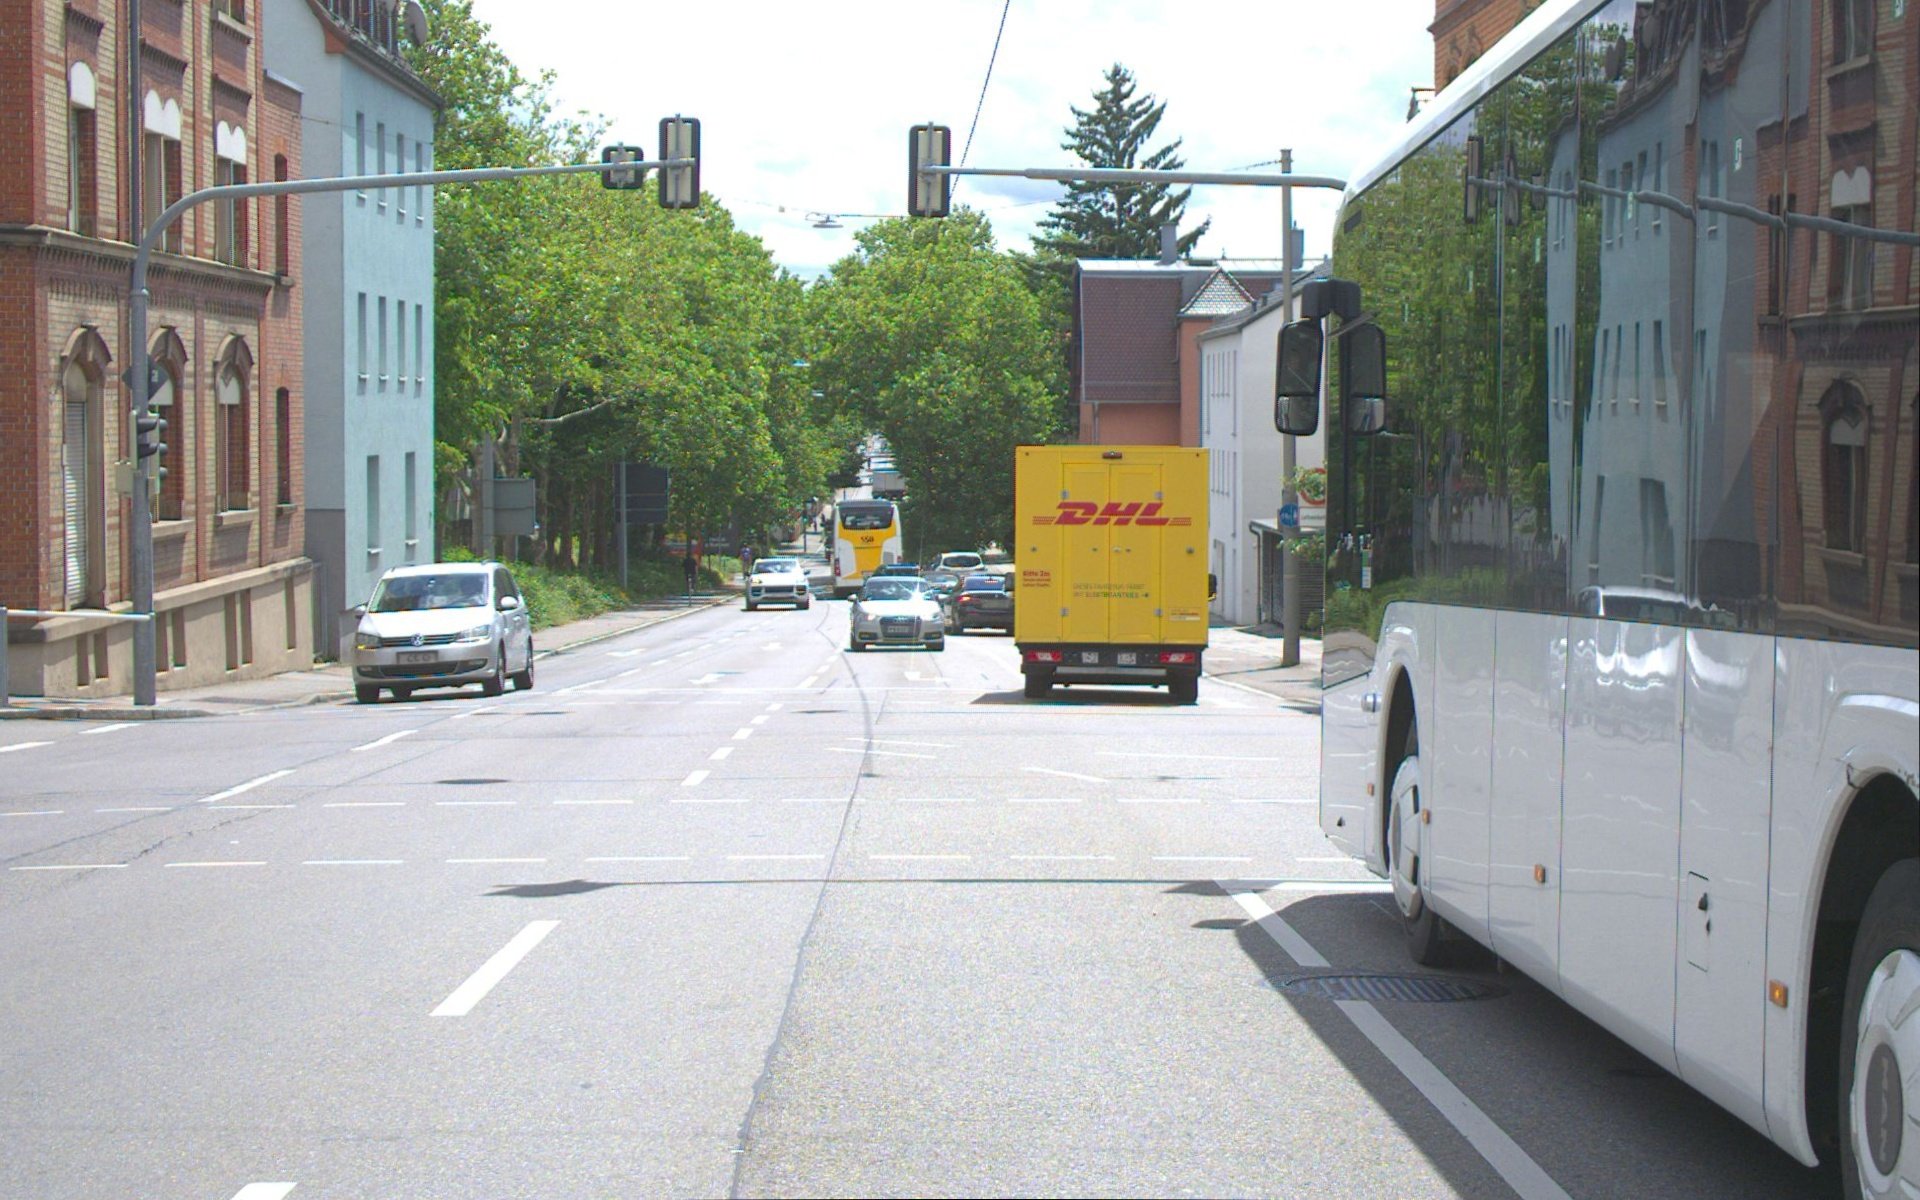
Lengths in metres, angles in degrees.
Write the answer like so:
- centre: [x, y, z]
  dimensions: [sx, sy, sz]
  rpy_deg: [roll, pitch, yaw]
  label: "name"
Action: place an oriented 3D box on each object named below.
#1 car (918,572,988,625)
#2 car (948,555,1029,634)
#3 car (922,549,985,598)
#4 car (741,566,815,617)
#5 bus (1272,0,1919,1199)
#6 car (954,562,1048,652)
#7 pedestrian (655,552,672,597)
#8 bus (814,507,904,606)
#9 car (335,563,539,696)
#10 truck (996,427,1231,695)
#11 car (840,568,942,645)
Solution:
- centre: [-0.214, -0.067, 94.422]
  dimensions: [1.865, 1.363, 4.547]
  rpy_deg: [-1, 1, -1]
  label: "car"
- centre: [0.652, -0.152, 80.894]
  dimensions: [1.819, 1.778, 4.000]
  rpy_deg: [-1, 1, -1]
  label: "car"
- centre: [-0.255, -1.024, 129.614]
  dimensions: [2.091, 1.824, 4.143]
  rpy_deg: [0, 1, -4]
  label: "car"
- centre: [-5.926, -0.297, 112.593]
  dimensions: [2.207, 1.607, 4.547]
  rpy_deg: [-1, 1, -1]
  label: "car"
- centre: [2.973, -0.384, 9.427]
  dimensions: [2.904, 3.498, 12.488]
  rpy_deg: [1, 1, -1]
  label: "bus"
- centre: [0.943, 0.139, 80.990]
  dimensions: [1.993, 2.007, 4.001]
  rpy_deg: [-1, 1, -2]
  label: "car"
- centre: [-11.750, -1.013, 136.322]
  dimensions: [0.606, 1.752, 0.654]
  rpy_deg: [-1, 1, -2]
  label: "pedestrian"
- centre: [-3.965, -1.689, 132.531]
  dimensions: [3.300, 3.618, 11.246]
  rpy_deg: [-1, 1, -2]
  label: "bus"
- centre: [-6.526, 0.330, 43.327]
  dimensions: [1.935, 1.558, 4.389]
  rpy_deg: [-1, 1, -1]
  label: "car"
- centre: [1.718, -0.462, 41.013]
  dimensions: [2.541, 2.903, 6.572]
  rpy_deg: [1, 1, 1]
  label: "truck"
- centre: [-1.289, 0.092, 65.327]
  dimensions: [1.865, 1.363, 4.547]
  rpy_deg: [-1, 1, -1]
  label: "car"
